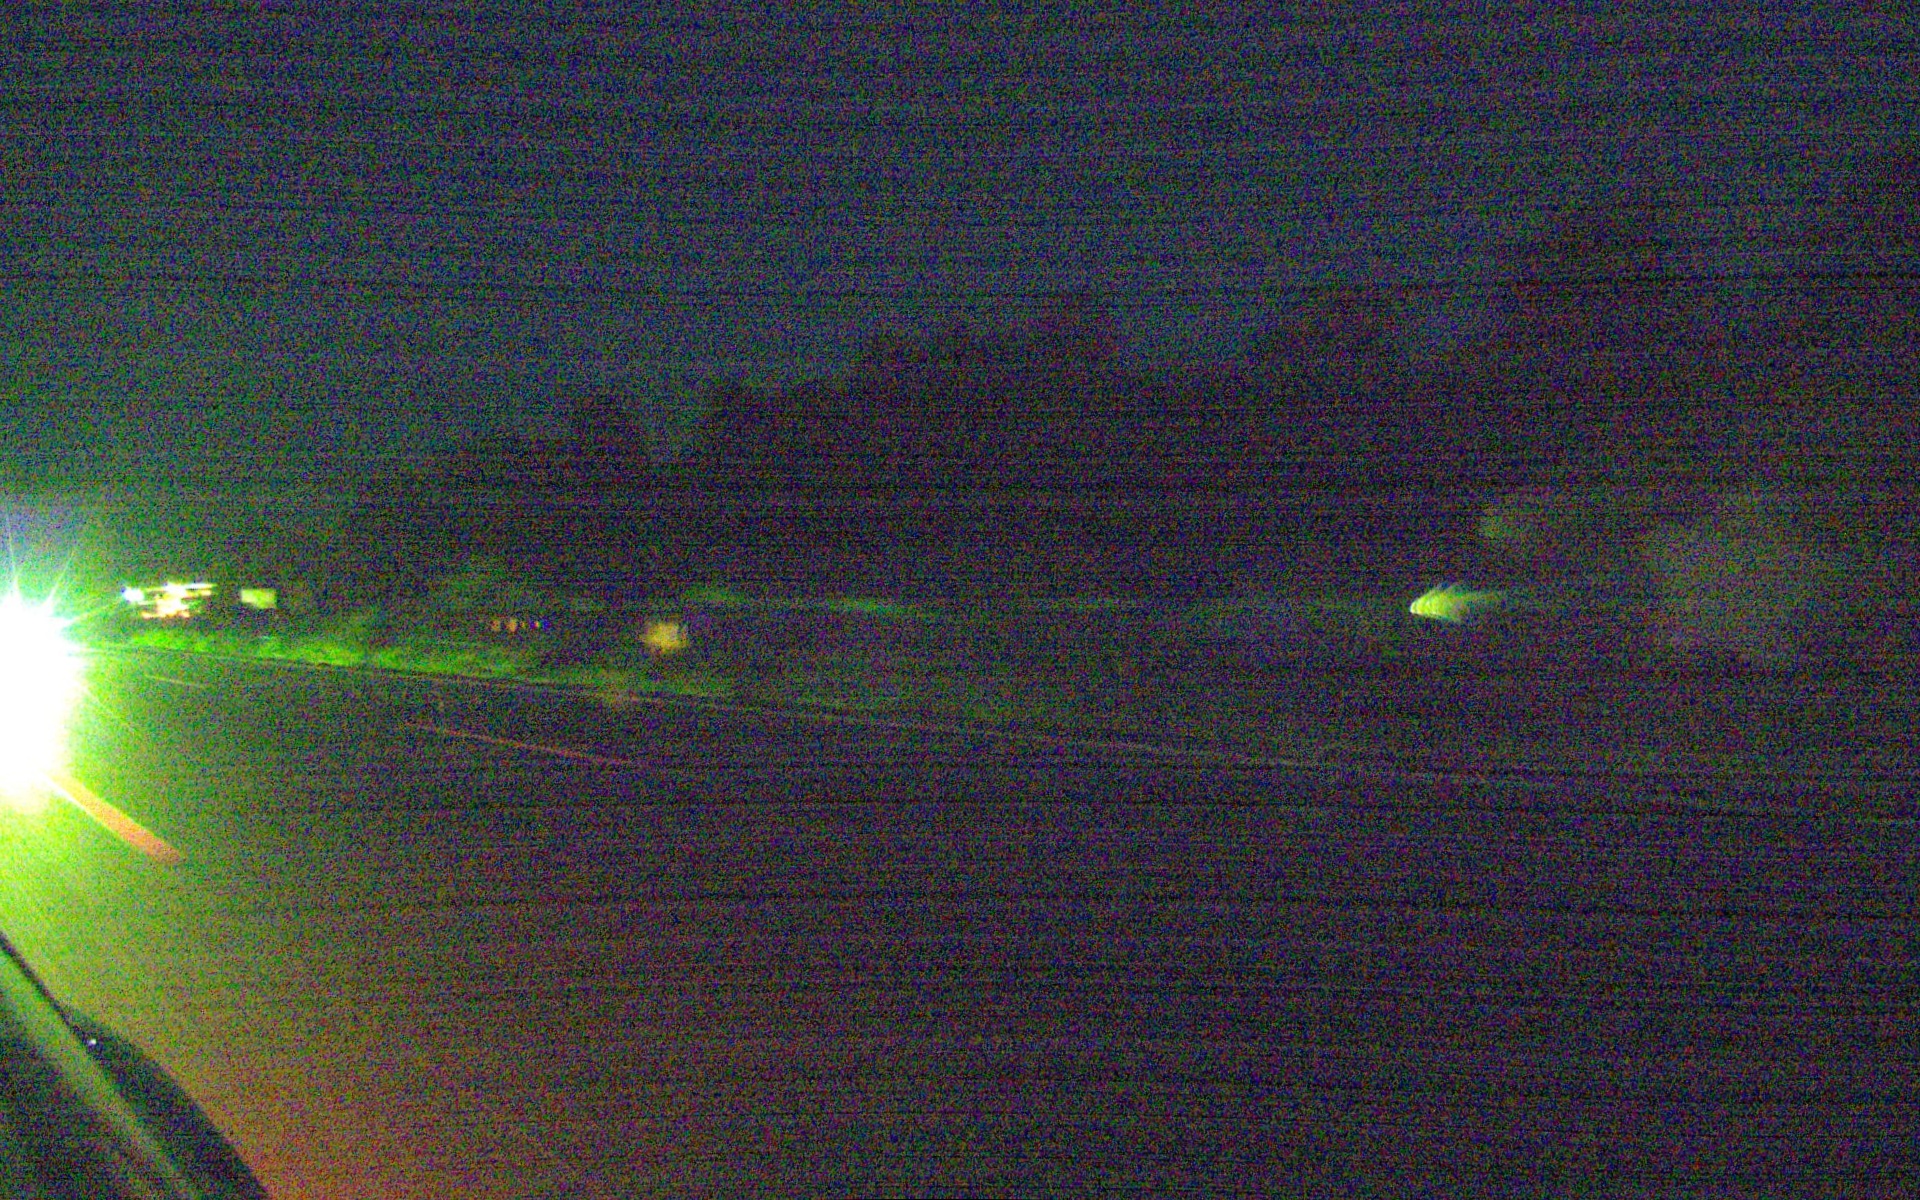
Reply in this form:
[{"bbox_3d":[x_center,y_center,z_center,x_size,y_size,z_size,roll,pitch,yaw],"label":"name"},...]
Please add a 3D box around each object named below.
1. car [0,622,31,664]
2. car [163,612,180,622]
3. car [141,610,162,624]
[{"bbox_3d":[-37.787,1.683,39.734,1.806,1.422,4.006,-1,2,-41],"label":"car"},{"bbox_3d":[-158.453,3.364,203.327,2.369,1.890,4.517,1,-1,-43],"label":"car"},{"bbox_3d":[-112.843,2.334,141.283,1.970,1.868,4.080,0,-1,-44],"label":"car"}]
